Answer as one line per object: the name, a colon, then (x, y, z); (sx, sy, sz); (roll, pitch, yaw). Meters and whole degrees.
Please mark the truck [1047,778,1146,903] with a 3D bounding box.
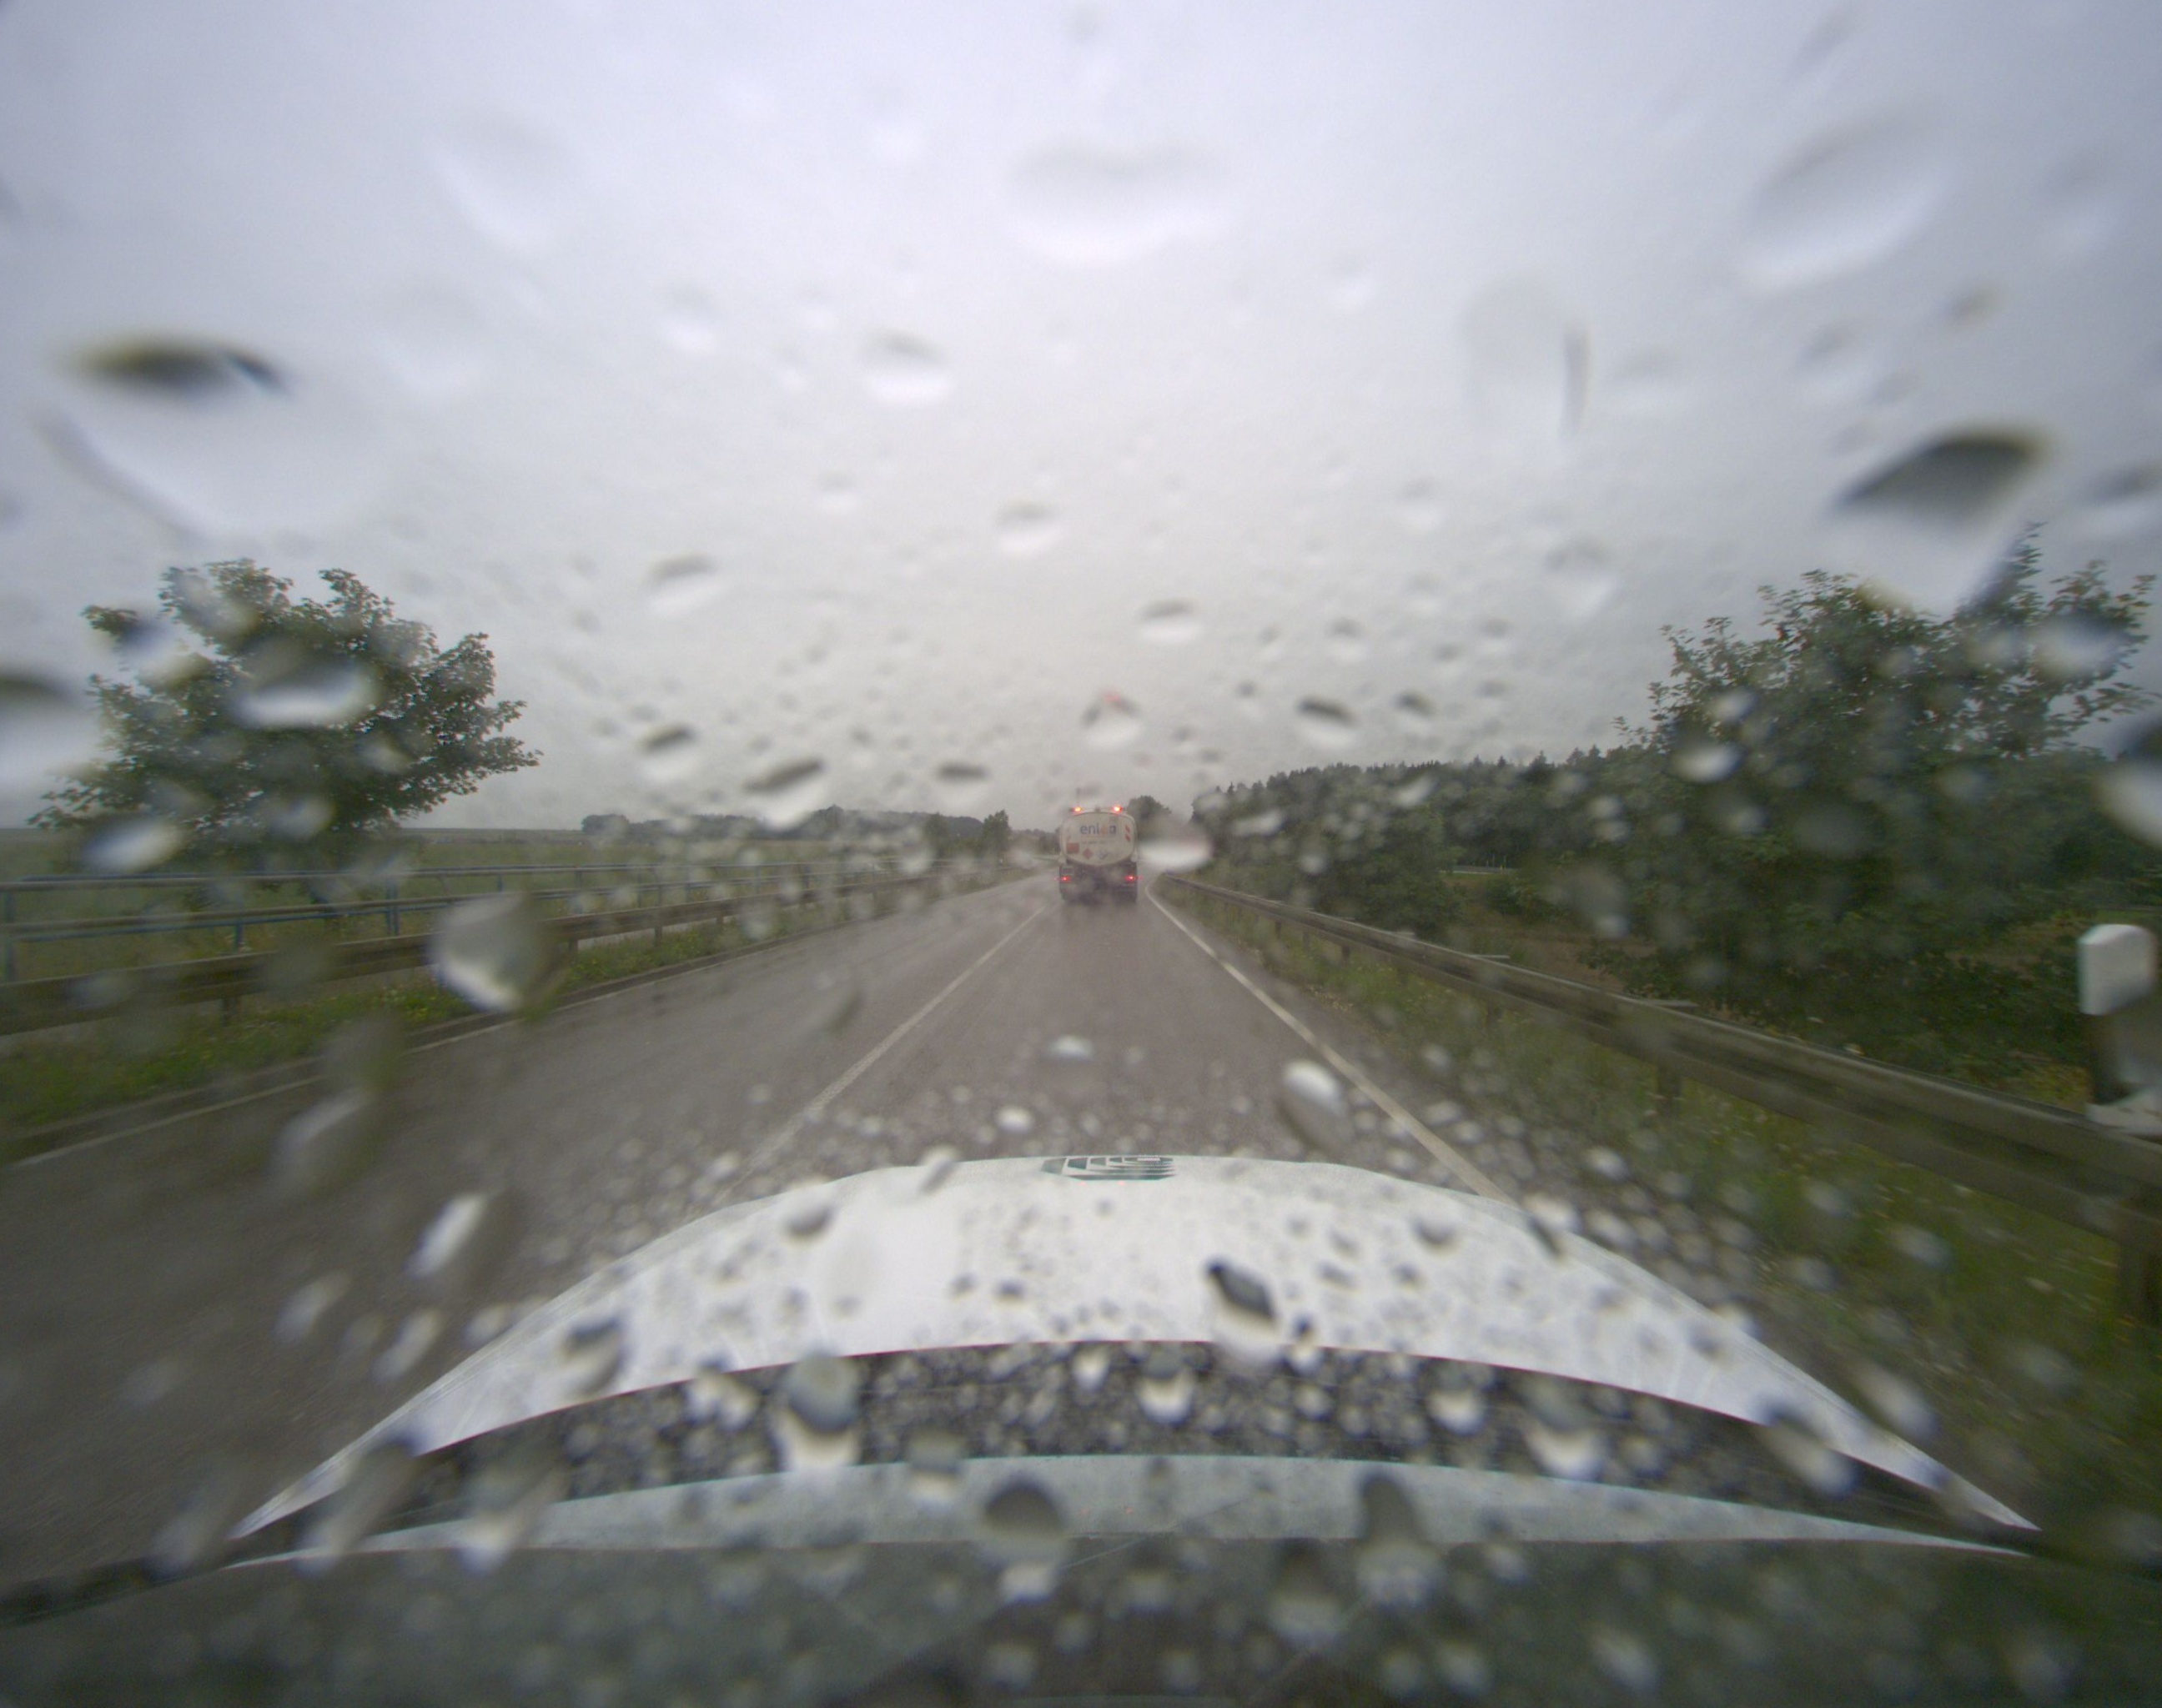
truck: (0.671, -0.444, 29.646); (3.027, 3.851, 8.828); (-1, 0, 3)
